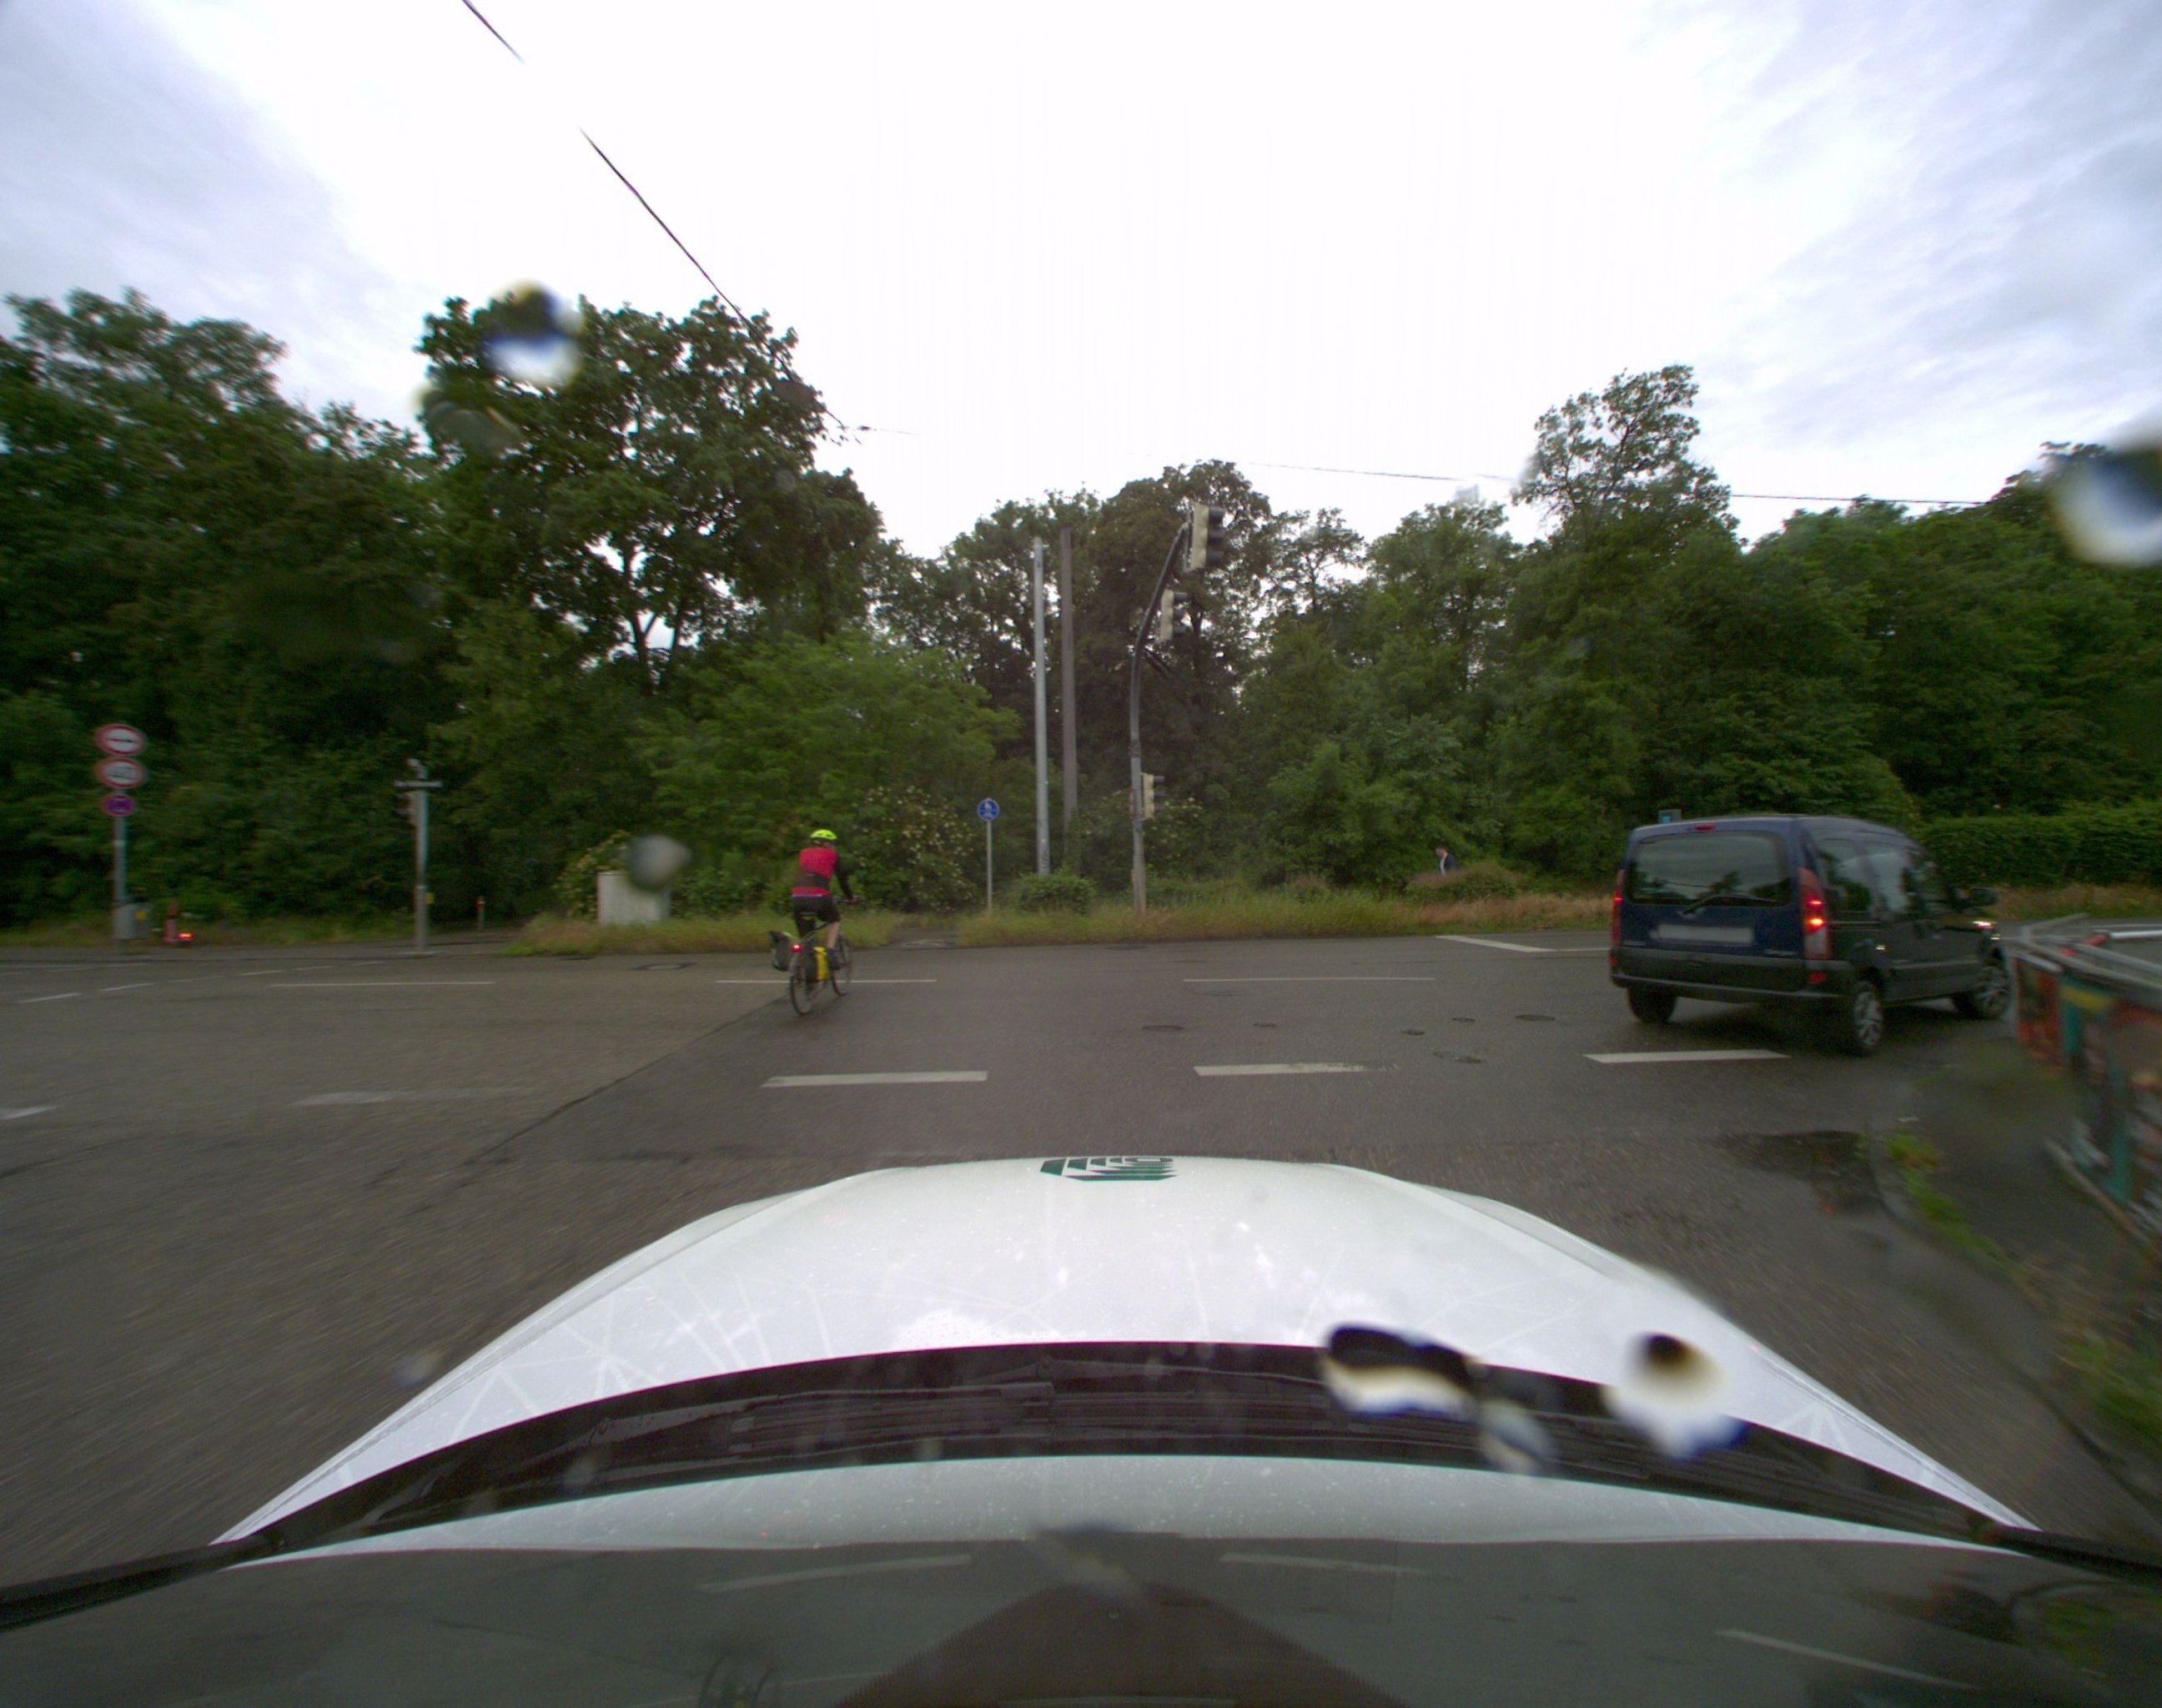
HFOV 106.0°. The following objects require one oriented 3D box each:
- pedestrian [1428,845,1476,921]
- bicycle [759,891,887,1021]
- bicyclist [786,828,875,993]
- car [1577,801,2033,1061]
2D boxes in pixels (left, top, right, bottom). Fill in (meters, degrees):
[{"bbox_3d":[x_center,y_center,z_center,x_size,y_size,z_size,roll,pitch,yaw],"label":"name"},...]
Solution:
[{"bbox_3d":[8.993,0.702,19.764,0.759,1.800,0.778,-1,-1,-2],"label":"pedestrian"},{"bbox_3d":[-2.639,0.995,8.594,0.576,1.096,2.156,0,0,3],"label":"bicycle"},{"bbox_3d":[-2.641,0.563,8.670,0.576,1.652,1.049,0,0,2],"label":"bicyclist"},{"bbox_3d":[6.615,0.527,7.393,4.010,1.797,1.798,-1,-1,-28],"label":"car"}]
